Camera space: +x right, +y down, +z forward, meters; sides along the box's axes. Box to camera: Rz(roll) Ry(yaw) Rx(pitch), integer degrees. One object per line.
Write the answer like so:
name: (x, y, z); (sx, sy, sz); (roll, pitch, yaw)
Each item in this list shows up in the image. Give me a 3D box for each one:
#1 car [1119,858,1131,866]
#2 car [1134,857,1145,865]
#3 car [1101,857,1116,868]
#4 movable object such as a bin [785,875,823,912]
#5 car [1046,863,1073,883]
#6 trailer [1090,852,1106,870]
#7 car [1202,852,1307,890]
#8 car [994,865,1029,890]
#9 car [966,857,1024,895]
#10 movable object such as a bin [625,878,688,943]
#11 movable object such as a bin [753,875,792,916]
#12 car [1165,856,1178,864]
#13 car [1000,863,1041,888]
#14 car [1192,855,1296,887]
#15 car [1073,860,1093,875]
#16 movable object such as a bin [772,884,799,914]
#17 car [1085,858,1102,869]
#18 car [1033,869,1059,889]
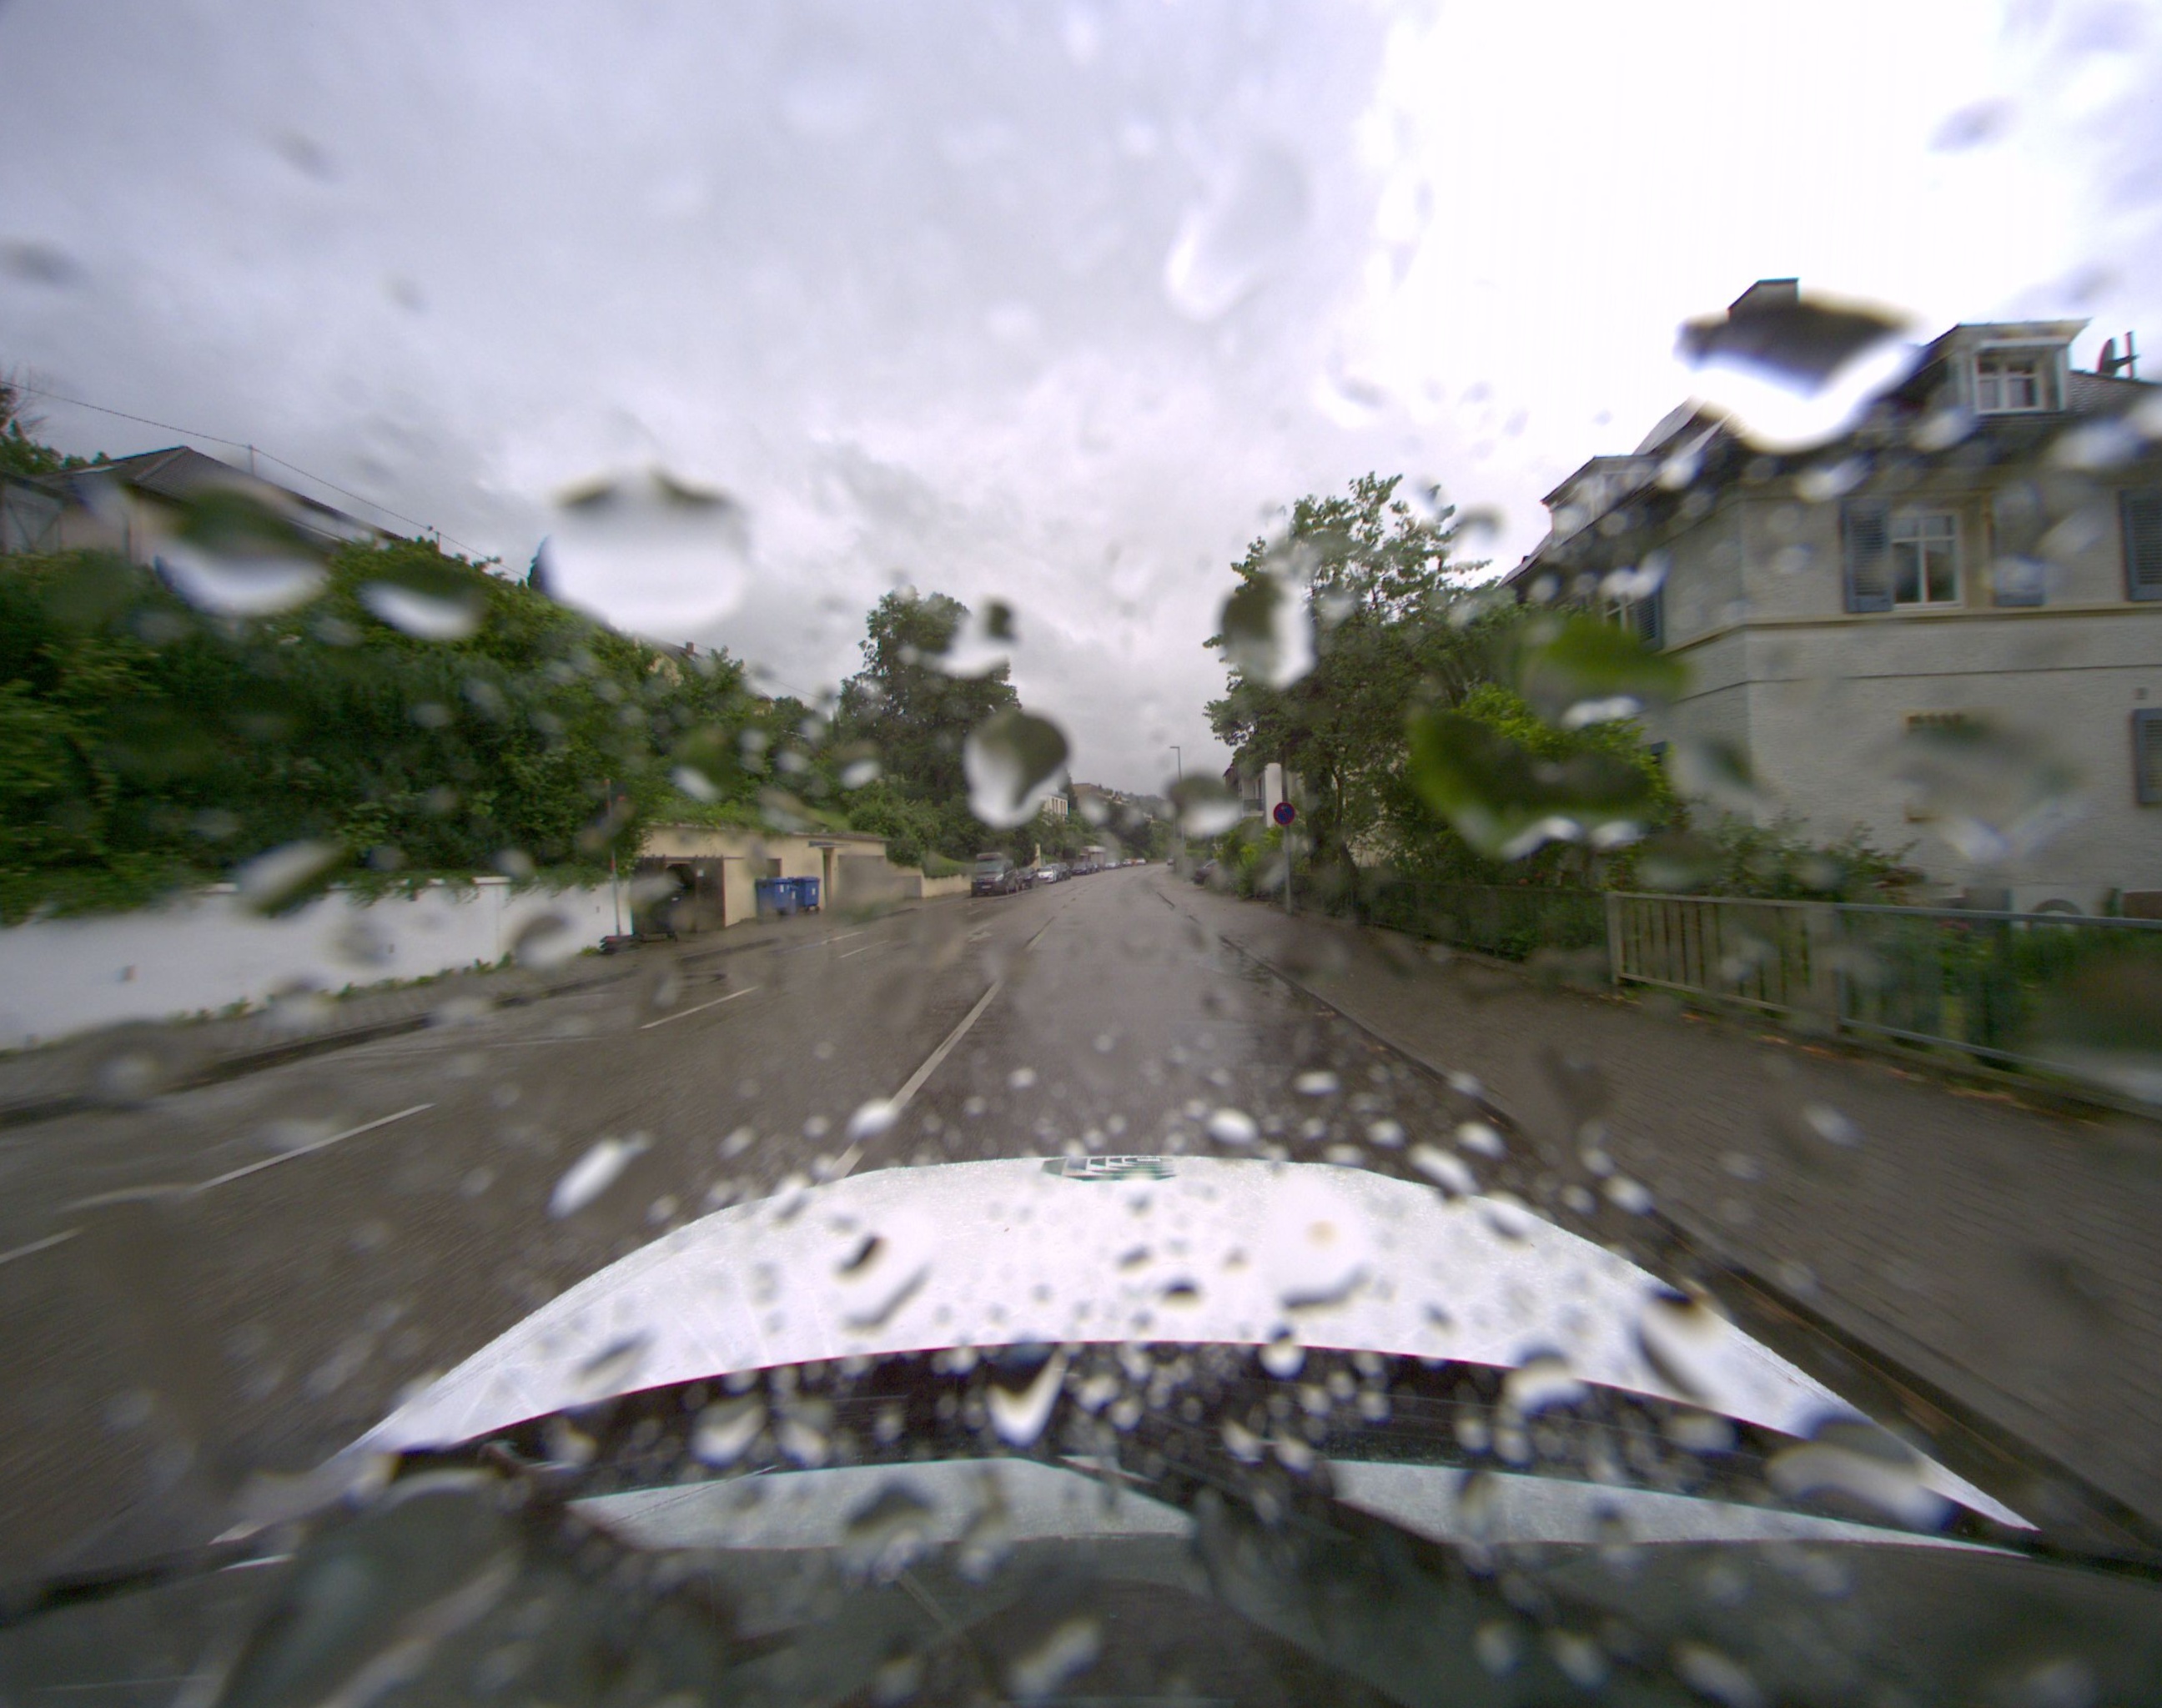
car: (8.109, 1.455, 149.828); (1.746, 1.402, 3.779); (-5, -1, 9)
car: (12.051, 1.391, 168.661); (1.745, 1.498, 4.231); (-4, -1, 10)
car: (4.256, 1.301, 127.272); (1.746, 1.539, 3.765); (-6, 0, 8)
movable object such as a bin: (-10.478, 1.480, 30.868); (0.816, 1.314, 1.404); (-2, 0, 7)
car: (-2.003, 1.796, 77.242); (1.865, 1.626, 4.601); (-6, 0, 6)
trailer: (2.388, 0.988, 113.277); (1.527, 2.399, 3.082); (-5, -1, 11)
car: (7.414, 0.724, 34.915); (3.948, 1.457, 1.783); (-3, 0, 37)
car: (-4.336, 1.454, 51.109); (1.558, 1.364, 3.910); (-4, -1, 3)
car: (-4.719, 1.183, 45.650); (2.148, 1.919, 5.330); (-3, -1, 4)
movable object such as a bin: (-9.662, 1.268, 18.576); (0.929, 1.445, 0.862); (1, -2, 1)
movable object such as a bin: (-10.802, 1.440, 28.550); (0.816, 1.382, 1.137); (-2, 0, 7)
car: (16.590, 1.040, 149.230); (1.777, 1.460, 4.323); (-2, -1, 12)
car: (-4.122, 1.463, 56.024); (1.899, 1.480, 4.763); (-5, -1, 6)
car: (7.629, 0.821, 38.208); (4.325, 1.364, 1.932); (-3, -2, 37)
car: (0.235, 1.568, 95.147); (1.777, 1.454, 4.763); (-5, 0, 6)
movable object such as a bin: (-10.723, 1.636, 29.561); (0.731, 1.042, 0.608); (-2, -1, 7)
car: (1.680, 1.227, 107.545); (1.798, 1.349, 3.783); (-4, 0, 7)
car: (-2.862, 2.039, 67.257); (1.709, 1.365, 4.087); (-5, 0, 3)
